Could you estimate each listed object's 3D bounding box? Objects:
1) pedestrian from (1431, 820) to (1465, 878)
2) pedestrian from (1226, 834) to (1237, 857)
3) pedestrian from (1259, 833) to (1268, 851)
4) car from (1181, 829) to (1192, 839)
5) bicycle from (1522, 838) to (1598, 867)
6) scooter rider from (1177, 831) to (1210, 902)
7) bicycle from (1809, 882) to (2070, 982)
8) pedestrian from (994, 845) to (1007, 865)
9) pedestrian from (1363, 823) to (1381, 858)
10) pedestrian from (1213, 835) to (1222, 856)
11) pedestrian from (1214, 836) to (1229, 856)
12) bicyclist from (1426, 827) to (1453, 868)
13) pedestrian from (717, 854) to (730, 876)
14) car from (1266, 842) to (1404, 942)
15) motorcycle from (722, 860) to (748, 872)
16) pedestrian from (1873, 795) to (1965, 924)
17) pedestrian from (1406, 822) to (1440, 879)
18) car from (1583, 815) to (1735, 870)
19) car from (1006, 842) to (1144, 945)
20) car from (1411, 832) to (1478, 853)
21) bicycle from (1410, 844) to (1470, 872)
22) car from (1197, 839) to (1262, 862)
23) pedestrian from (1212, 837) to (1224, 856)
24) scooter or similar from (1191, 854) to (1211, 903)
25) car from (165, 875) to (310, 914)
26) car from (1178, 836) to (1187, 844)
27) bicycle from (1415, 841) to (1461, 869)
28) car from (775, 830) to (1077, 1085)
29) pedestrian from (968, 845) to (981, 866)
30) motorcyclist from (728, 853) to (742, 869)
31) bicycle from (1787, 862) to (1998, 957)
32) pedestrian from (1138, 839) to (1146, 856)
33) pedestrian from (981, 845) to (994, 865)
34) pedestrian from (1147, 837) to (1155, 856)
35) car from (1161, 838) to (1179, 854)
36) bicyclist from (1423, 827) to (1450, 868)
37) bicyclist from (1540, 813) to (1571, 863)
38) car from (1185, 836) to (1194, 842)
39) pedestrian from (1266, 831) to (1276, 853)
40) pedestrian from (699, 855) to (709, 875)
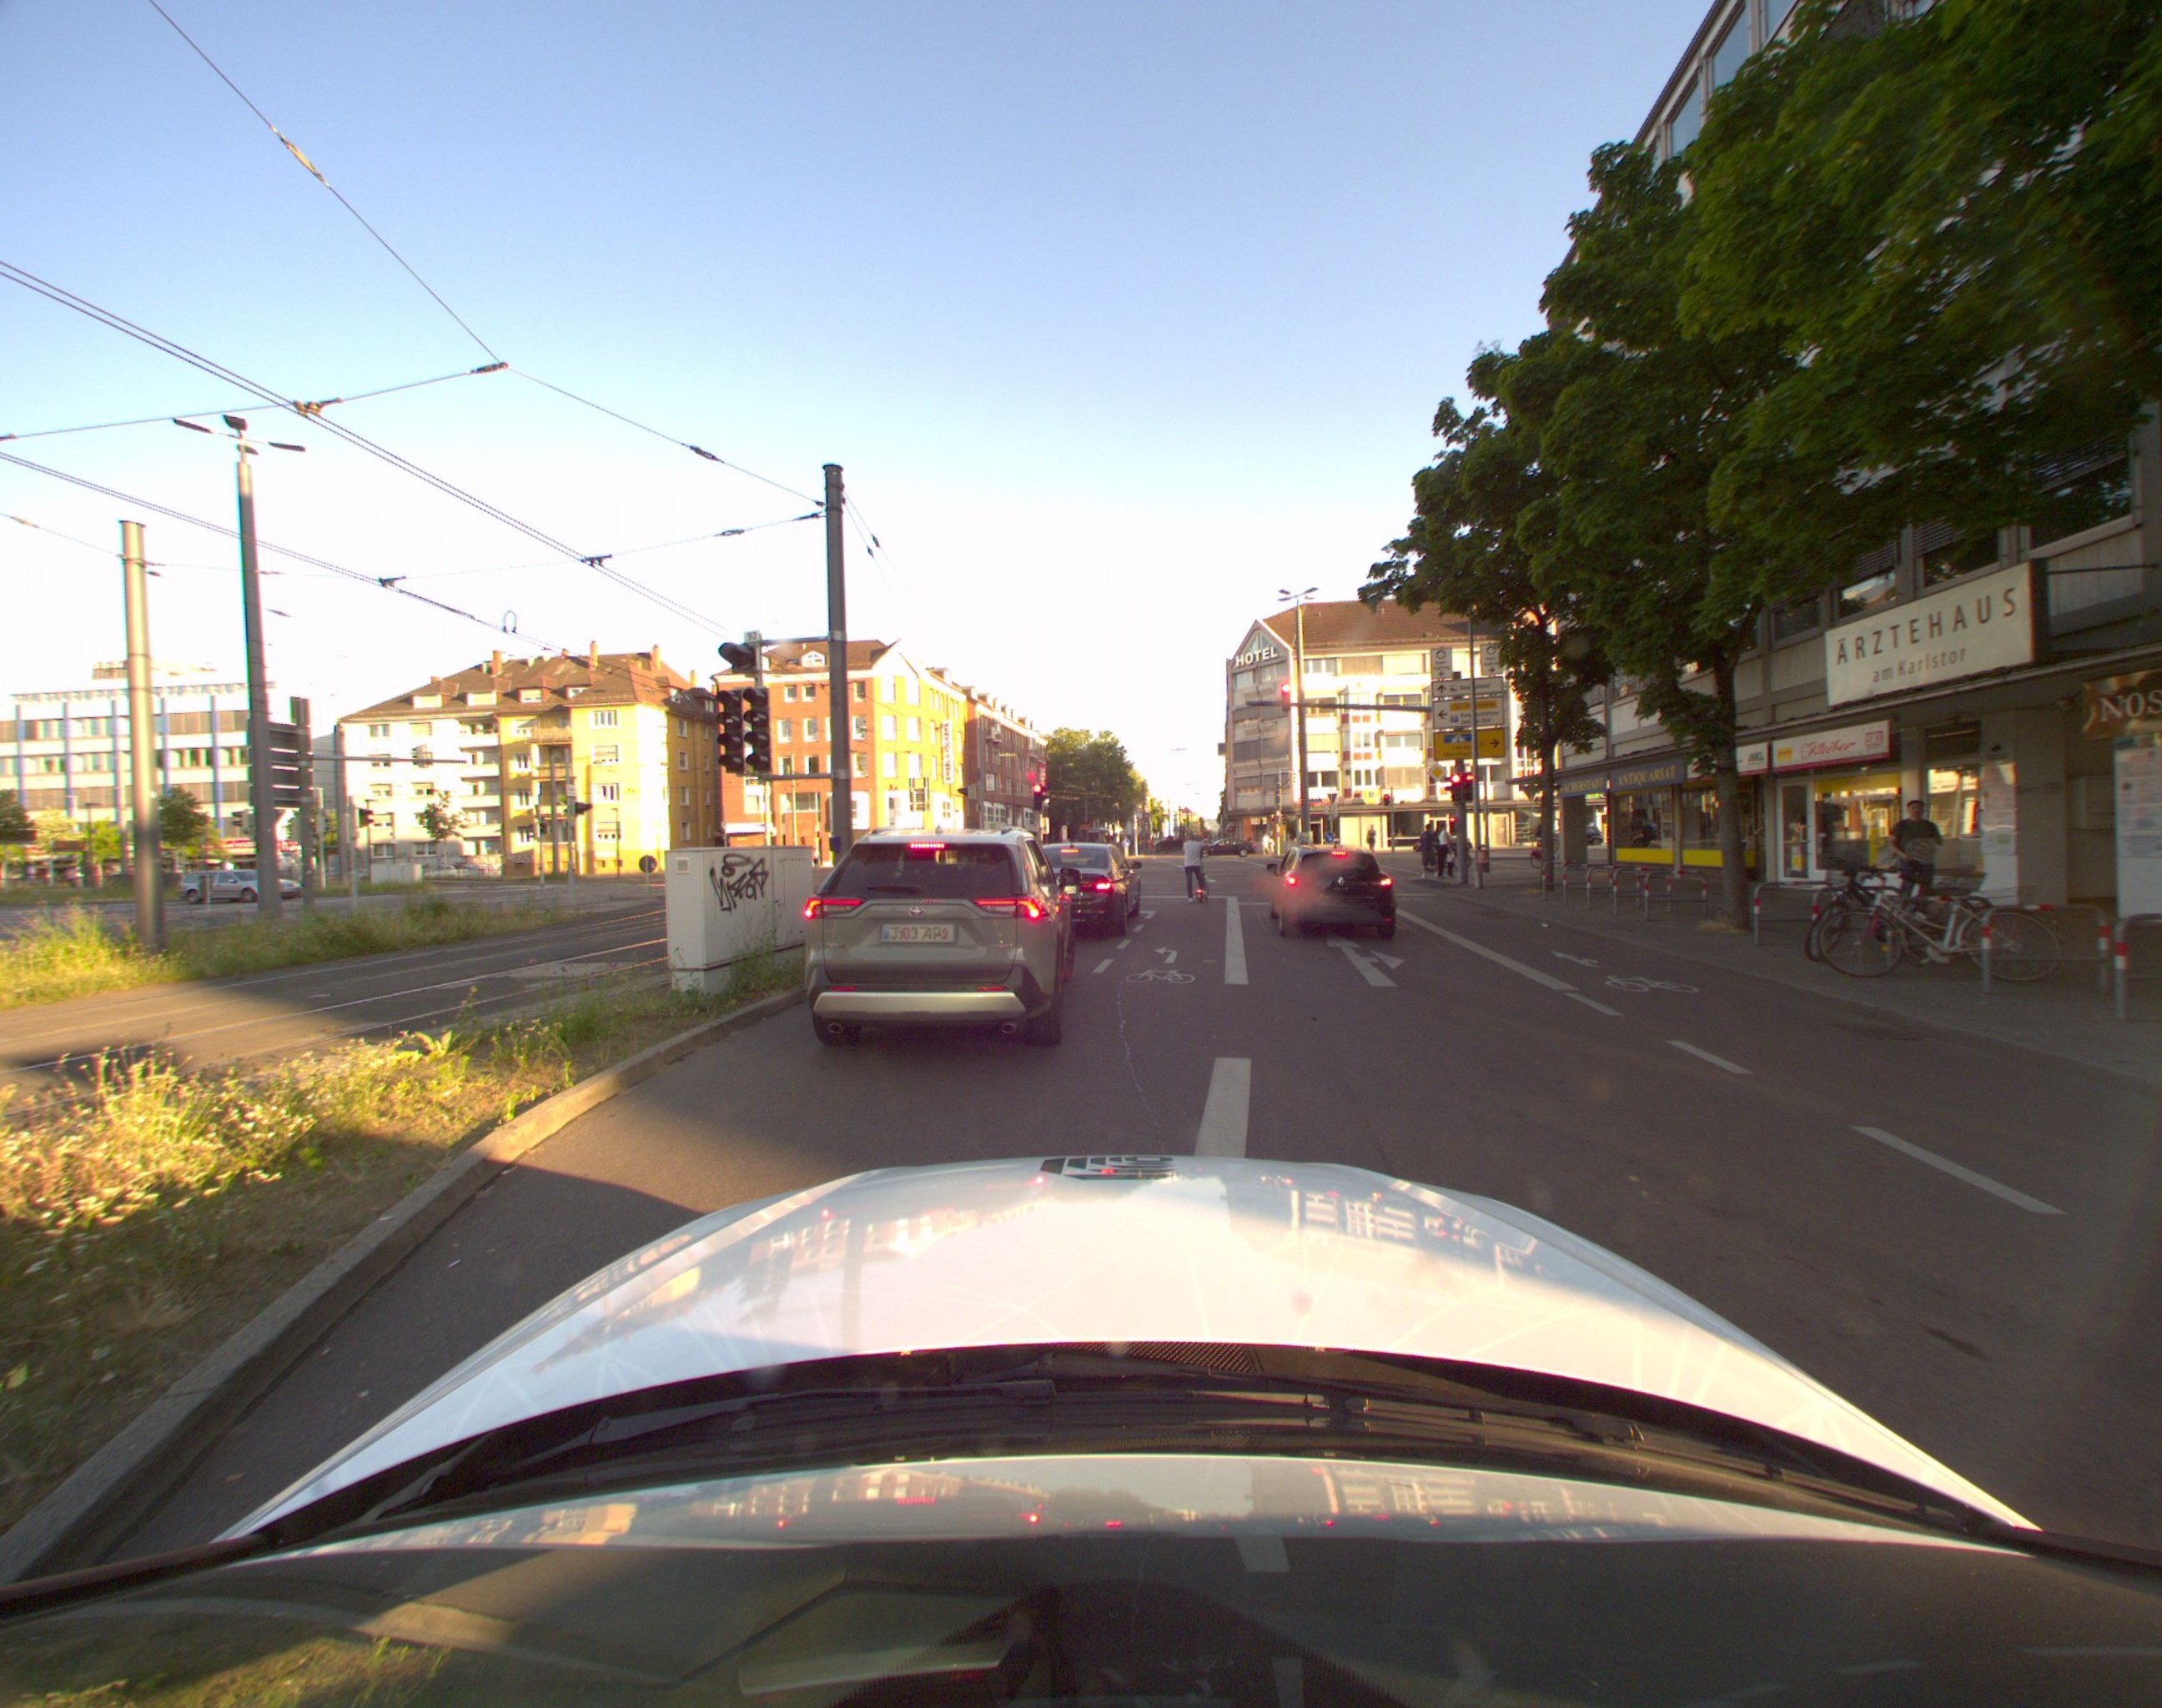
[{"bbox_3d":[11.785,-0.164,26.148,0.719,1.830,1.004,0,1,43],"label":"pedestrian"},{"bbox_3d":[15.880,-0.900,85.983,1.078,2.365,1.059,0,0,10],"label":"pedestrian"},{"bbox_3d":[14.963,-0.982,66.638,0.496,1.503,0.471,-2,1,-28],"label":"pedestrian"},{"bbox_3d":[20.725,-3.993,160.270,1.981,1.900,4.012,0,1,11],"label":"car"},{"bbox_3d":[18.399,-0.057,31.294,2.629,1.099,0.436,0,0,3],"label":"bicycle"},{"bbox_3d":[2.645,0.279,19.163,0.657,1.647,0.664,0,0,18],"label":"scooter rider"},{"bbox_3d":[8.373,0.741,8.012,1.804,0.891,0.417,0,1,16],"label":"bicycle"},{"bbox_3d":[-8.390,0.096,84.715,1.087,2.013,1.165,0,1,7],"label":"pedestrian"},{"bbox_3d":[14.584,-0.675,40.869,0.741,1.778,0.803,0,0,12],"label":"pedestrian"},{"bbox_3d":[14.619,-0.906,87.522,0.927,2.196,0.854,0,0,7],"label":"pedestrian"},{"bbox_3d":[12.125,-0.666,70.199,0.938,1.726,0.844,0,1,-31],"label":"pedestrian"},{"bbox_3d":[13.381,-0.245,30.424,0.701,1.511,0.550,-4,1,3],"label":"bicyclist"},{"bbox_3d":[-29.287,0.879,66.666,0.681,1.743,0.672,-1,0,36],"label":"pedestrian"},{"bbox_3d":[4.150,0.525,13.903,1.753,1.440,4.012,0,1,10],"label":"car"},{"bbox_3d":[-26.695,0.930,62.804,1.824,0.908,0.433,0,0,5],"label":"motorcycle"},{"bbox_3d":[12.030,0.068,11.724,0.739,1.778,0.805,0,0,31],"label":"pedestrian"},{"bbox_3d":[11.226,-0.118,26.725,0.720,1.830,1.004,0,1,44],"label":"pedestrian"},{"bbox_3d":[23.231,-0.465,32.972,4.643,2.013,2.011,-2,1,21],"label":"car"},{"bbox_3d":[0.078,0.554,14.262,1.735,1.460,4.421,0,1,9],"label":"car"},{"bbox_3d":[26.012,-0.846,58.411,3.965,1.476,2.004,0,1,7],"label":"car"},{"bbox_3d":[13.429,0.142,30.458,2.027,1.028,0.417,-1,1,4],"label":"bicycle"},{"bbox_3d":[10.853,-0.282,59.714,4.528,1.620,2.002,-1,1,6],"label":"car"},{"bbox_3d":[11.970,-0.675,71.053,0.725,1.623,0.765,-2,1,-28],"label":"pedestrian"},{"bbox_3d":[2.813,0.554,19.025,0.277,1.090,1.262,0,1,16],"label":"scooter or similar"},{"bbox_3d":[-37.154,1.763,35.940,4.321,1.551,2.001,-1,1,2],"label":"car"},{"bbox_3d":[25.496,-3.546,204.486,1.980,1.859,4.014,-2,1,12],"label":"car"},{"bbox_3d":[13.780,0.042,31.427,1.604,1.028,0.354,-2,0,2],"label":"bicycle"},{"bbox_3d":[-1.007,0.611,7.298,1.829,1.636,4.092,0,2,1],"label":"car"},{"bbox_3d":[-10.461,0.143,79.845,1.087,2.013,0.910,0,0,7],"label":"pedestrian"},{"bbox_3d":[-26.671,0.539,62.855,0.701,1.220,0.789,0,1,4],"label":"motorcyclist"},{"bbox_3d":[8.765,0.581,8.853,1.645,0.974,0.388,0,1,16],"label":"bicycle"},{"bbox_3d":[5.986,-0.624,79.764,0.696,1.664,0.810,0,0,11],"label":"pedestrian"},{"bbox_3d":[-9.315,0.128,81.341,1.087,2.013,0.910,0,0,7],"label":"pedestrian"},{"bbox_3d":[6.797,-0.720,79.495,0.696,1.822,0.810,0,0,11],"label":"pedestrian"},{"bbox_3d":[10.363,-0.920,94.349,1.800,1.746,3.726,0,1,11],"label":"car"},{"bbox_3d":[13.718,-0.257,31.428,0.701,1.511,0.550,-4,1,2],"label":"bicyclist"},{"bbox_3d":[18.203,-0.613,31.259,0.857,1.878,0.647,0,0,3],"label":"bicyclist"},{"bbox_3d":[22.835,-3.186,171.305,1.982,1.310,4.010,-2,1,8],"label":"car"},{"bbox_3d":[15.561,-1.003,66.722,0.496,1.774,0.471,-2,1,-28],"label":"pedestrian"},{"bbox_3d":[-31.970,0.930,69.101,0.547,1.642,0.502,0,0,8],"label":"pedestrian"}]
